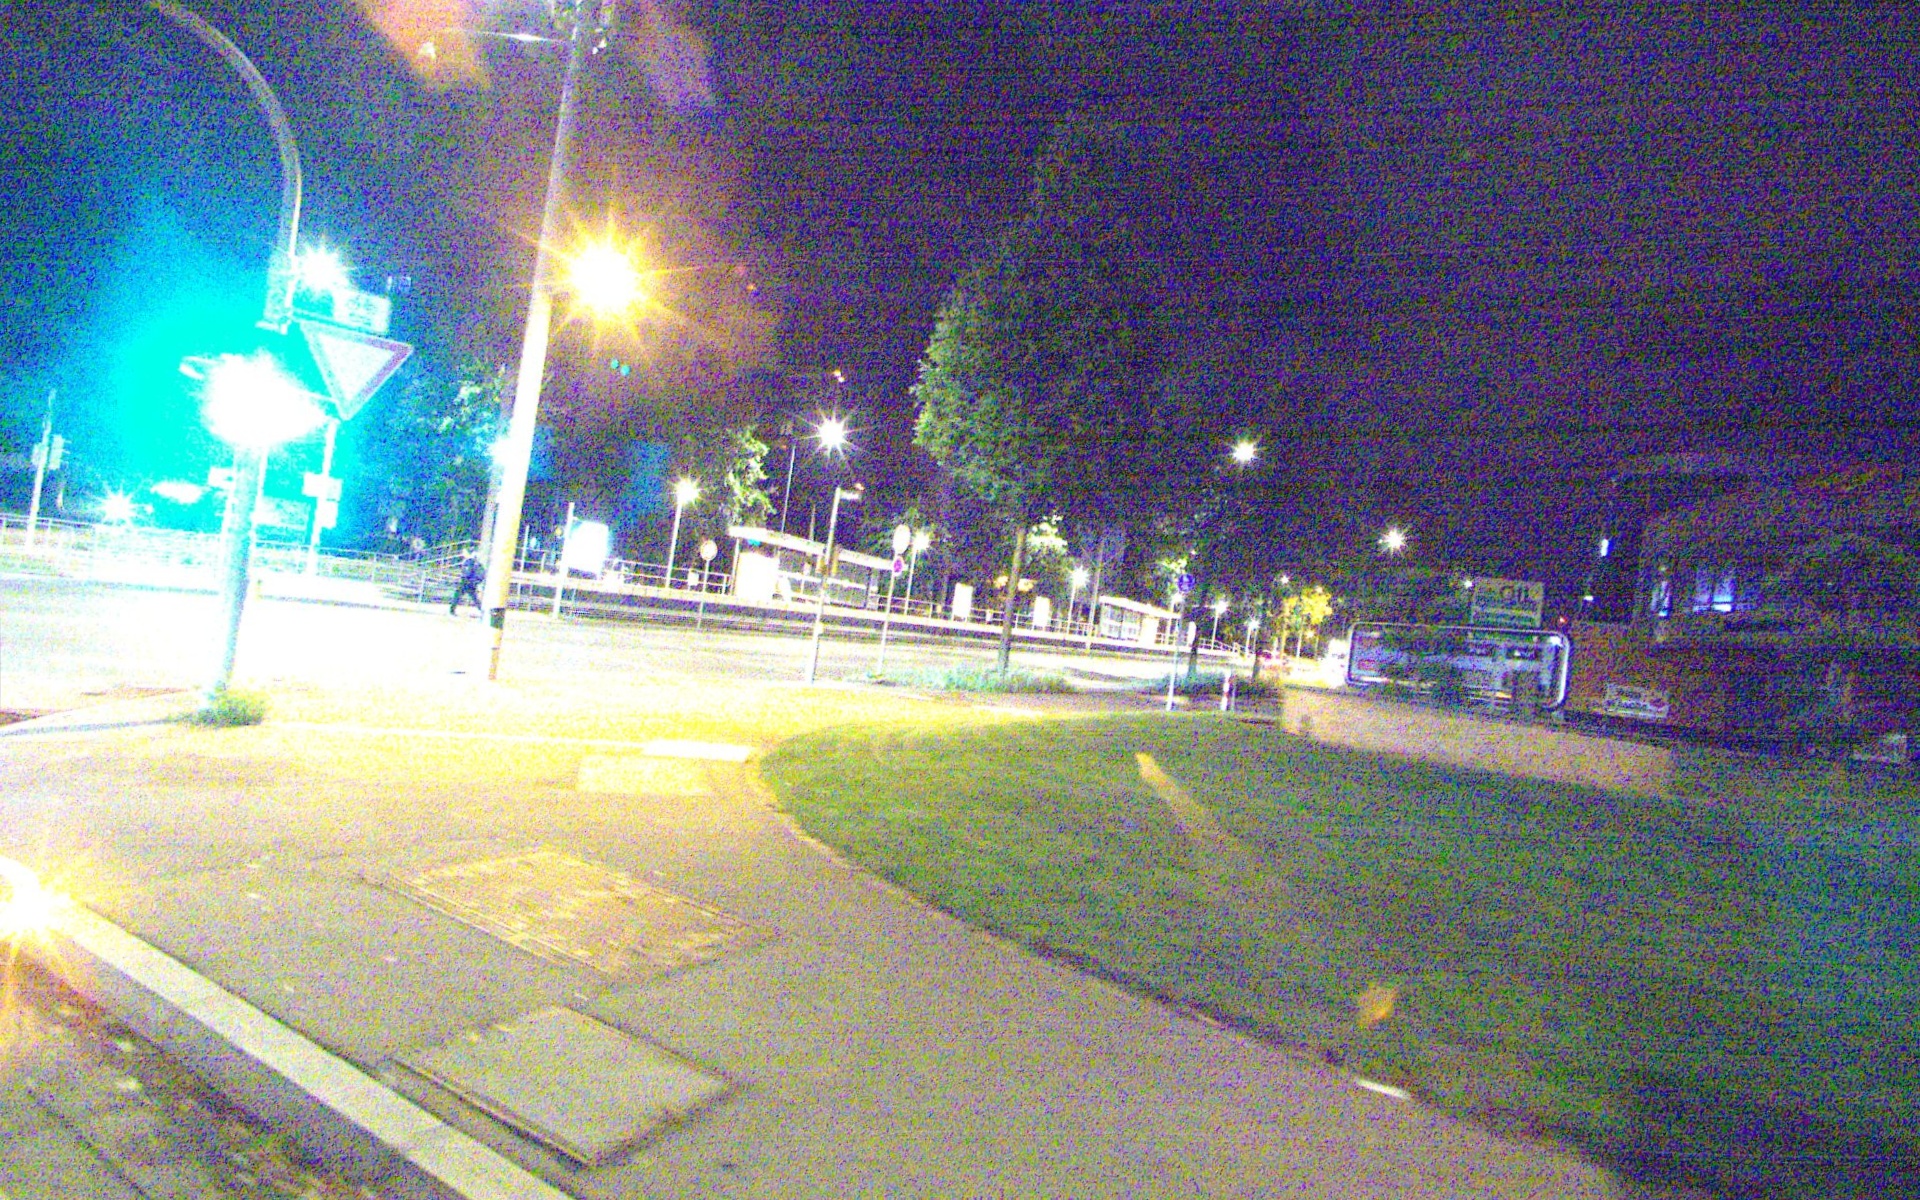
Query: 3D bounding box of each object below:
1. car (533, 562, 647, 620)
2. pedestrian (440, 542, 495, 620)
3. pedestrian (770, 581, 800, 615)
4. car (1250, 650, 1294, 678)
[{"bbox_3d":[-15.489,-0.352,42.240,1.970,2.039,3.985,5,0,36],"label":"car"},{"bbox_3d":[-11.776,-0.459,24.042,0.820,1.767,0.755,5,1,31],"label":"pedestrian"},{"bbox_3d":[-8.441,-0.094,48.455,1.129,1.518,1.073,6,-1,-19],"label":"pedestrian"},{"bbox_3d":[24.150,4.953,77.747,1.834,1.679,4.449,9,0,34],"label":"car"}]
